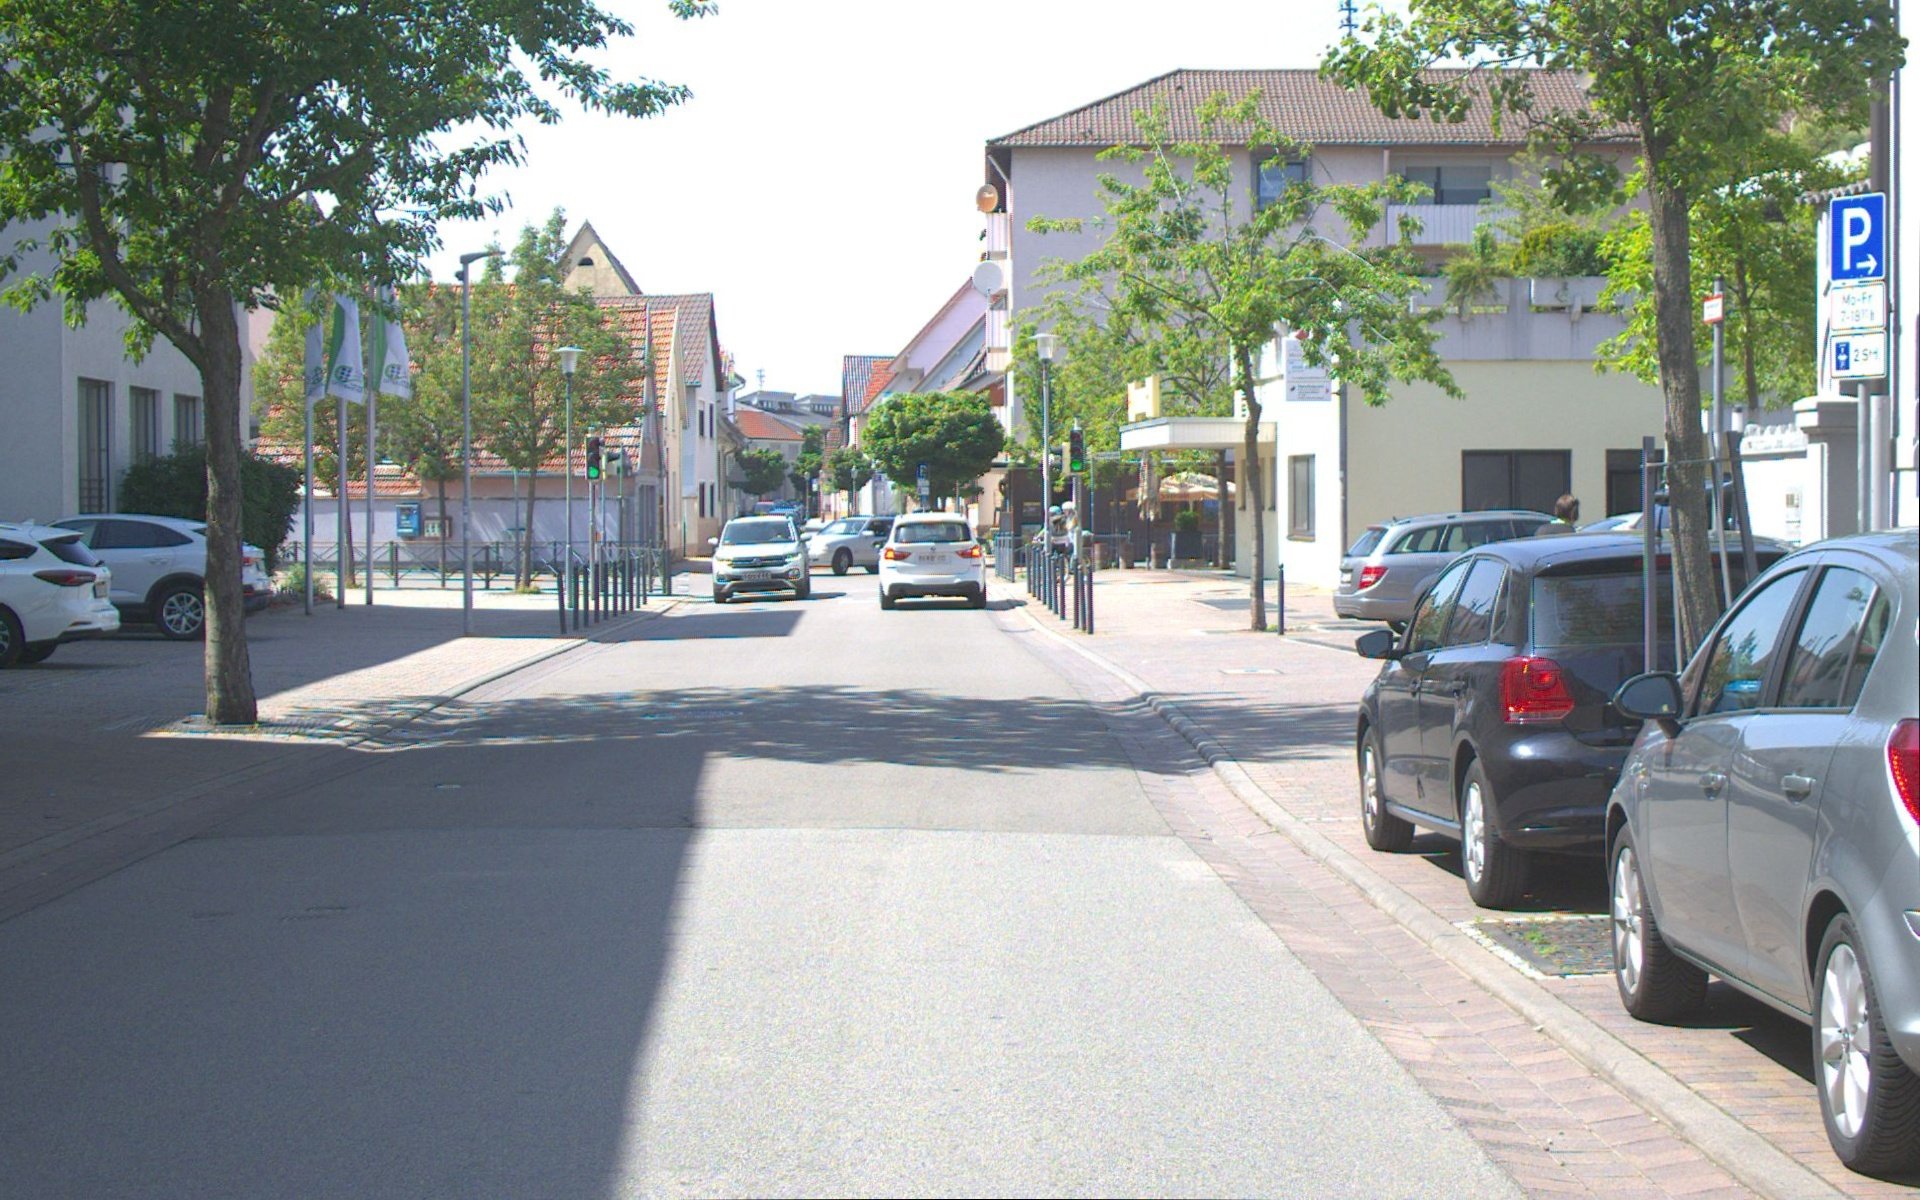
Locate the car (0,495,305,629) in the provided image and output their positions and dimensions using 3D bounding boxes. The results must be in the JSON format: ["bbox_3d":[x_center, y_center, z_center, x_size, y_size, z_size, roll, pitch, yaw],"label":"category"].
[{"bbox_3d":[-10.738,-0.488,43.483,4.506,1.548,2.148,-1,2,-2],"label":"car"}]

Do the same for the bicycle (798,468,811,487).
[{"bbox_3d":[-8.544,-6.751,189.107,0.664,1.002,1.898,-2,3,-3],"label":"bicycle"}]

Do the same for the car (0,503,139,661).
[{"bbox_3d":[-10.860,-0.228,35.111,4.503,1.549,1.935,1,1,-1],"label":"car"}]

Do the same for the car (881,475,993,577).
[{"bbox_3d":[-0.397,-1.293,59.018,1.834,1.646,4.001,0,3,0],"label":"car"}]

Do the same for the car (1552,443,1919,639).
[{"bbox_3d":[7.284,-0.558,30.070,3.728,1.447,1.745,-4,3,-7],"label":"car"}]

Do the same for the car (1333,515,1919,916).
[{"bbox_3d":[2.743,0.398,14.742,1.703,1.476,3.922,1,1,-2],"label":"car"}]

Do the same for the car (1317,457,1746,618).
[{"bbox_3d":[6.743,-0.759,40.814,4.575,1.507,1.917,-5,2,-7],"label":"car"}]

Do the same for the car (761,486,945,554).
[{"bbox_3d":[-2.644,-1.996,85.511,4.425,1.459,1.885,-5,4,-45],"label":"car"}]

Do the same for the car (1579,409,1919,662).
[{"bbox_3d":[7.575,-0.624,27.733,4.630,1.765,2.148,-4,3,-1],"label":"car"}]

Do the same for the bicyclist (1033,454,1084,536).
[{"bbox_3d":[1.895,-2.023,66.279,0.759,1.576,0.671,-1,1,-27],"label":"bicyclist"}]

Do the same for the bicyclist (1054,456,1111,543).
[{"bbox_3d":[2.420,-1.984,67.842,0.759,1.658,0.671,-6,3,-31],"label":"bicyclist"}]

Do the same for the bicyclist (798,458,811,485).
[{"bbox_3d":[-8.538,-7.079,189.065,0.673,1.477,0.771,-2,2,-3],"label":"bicyclist"}]

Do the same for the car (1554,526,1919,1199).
[{"bbox_3d":[2.813,0.543,9.250,1.717,1.476,4.096,0,1,0],"label":"car"}]

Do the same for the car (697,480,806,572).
[{"bbox_3d":[-3.951,-1.438,65.526,1.851,1.568,4.001,-3,3,-1],"label":"car"}]

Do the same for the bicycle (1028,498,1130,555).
[{"bbox_3d":[2.357,-1.455,67.806,1.890,0.954,0.676,-6,3,-32],"label":"bicycle"}]

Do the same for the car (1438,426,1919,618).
[{"bbox_3d":[7.024,-0.766,32.548,4.535,1.435,1.840,-5,3,-7],"label":"car"}]

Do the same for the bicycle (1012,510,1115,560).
[{"bbox_3d":[1.993,-1.254,66.341,1.889,0.954,0.676,-1,1,-27],"label":"bicycle"}]

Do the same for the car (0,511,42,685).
[{"bbox_3d":[-10.265,0.018,30.073,3.986,1.446,1.808,-1,3,-3],"label":"car"}]
